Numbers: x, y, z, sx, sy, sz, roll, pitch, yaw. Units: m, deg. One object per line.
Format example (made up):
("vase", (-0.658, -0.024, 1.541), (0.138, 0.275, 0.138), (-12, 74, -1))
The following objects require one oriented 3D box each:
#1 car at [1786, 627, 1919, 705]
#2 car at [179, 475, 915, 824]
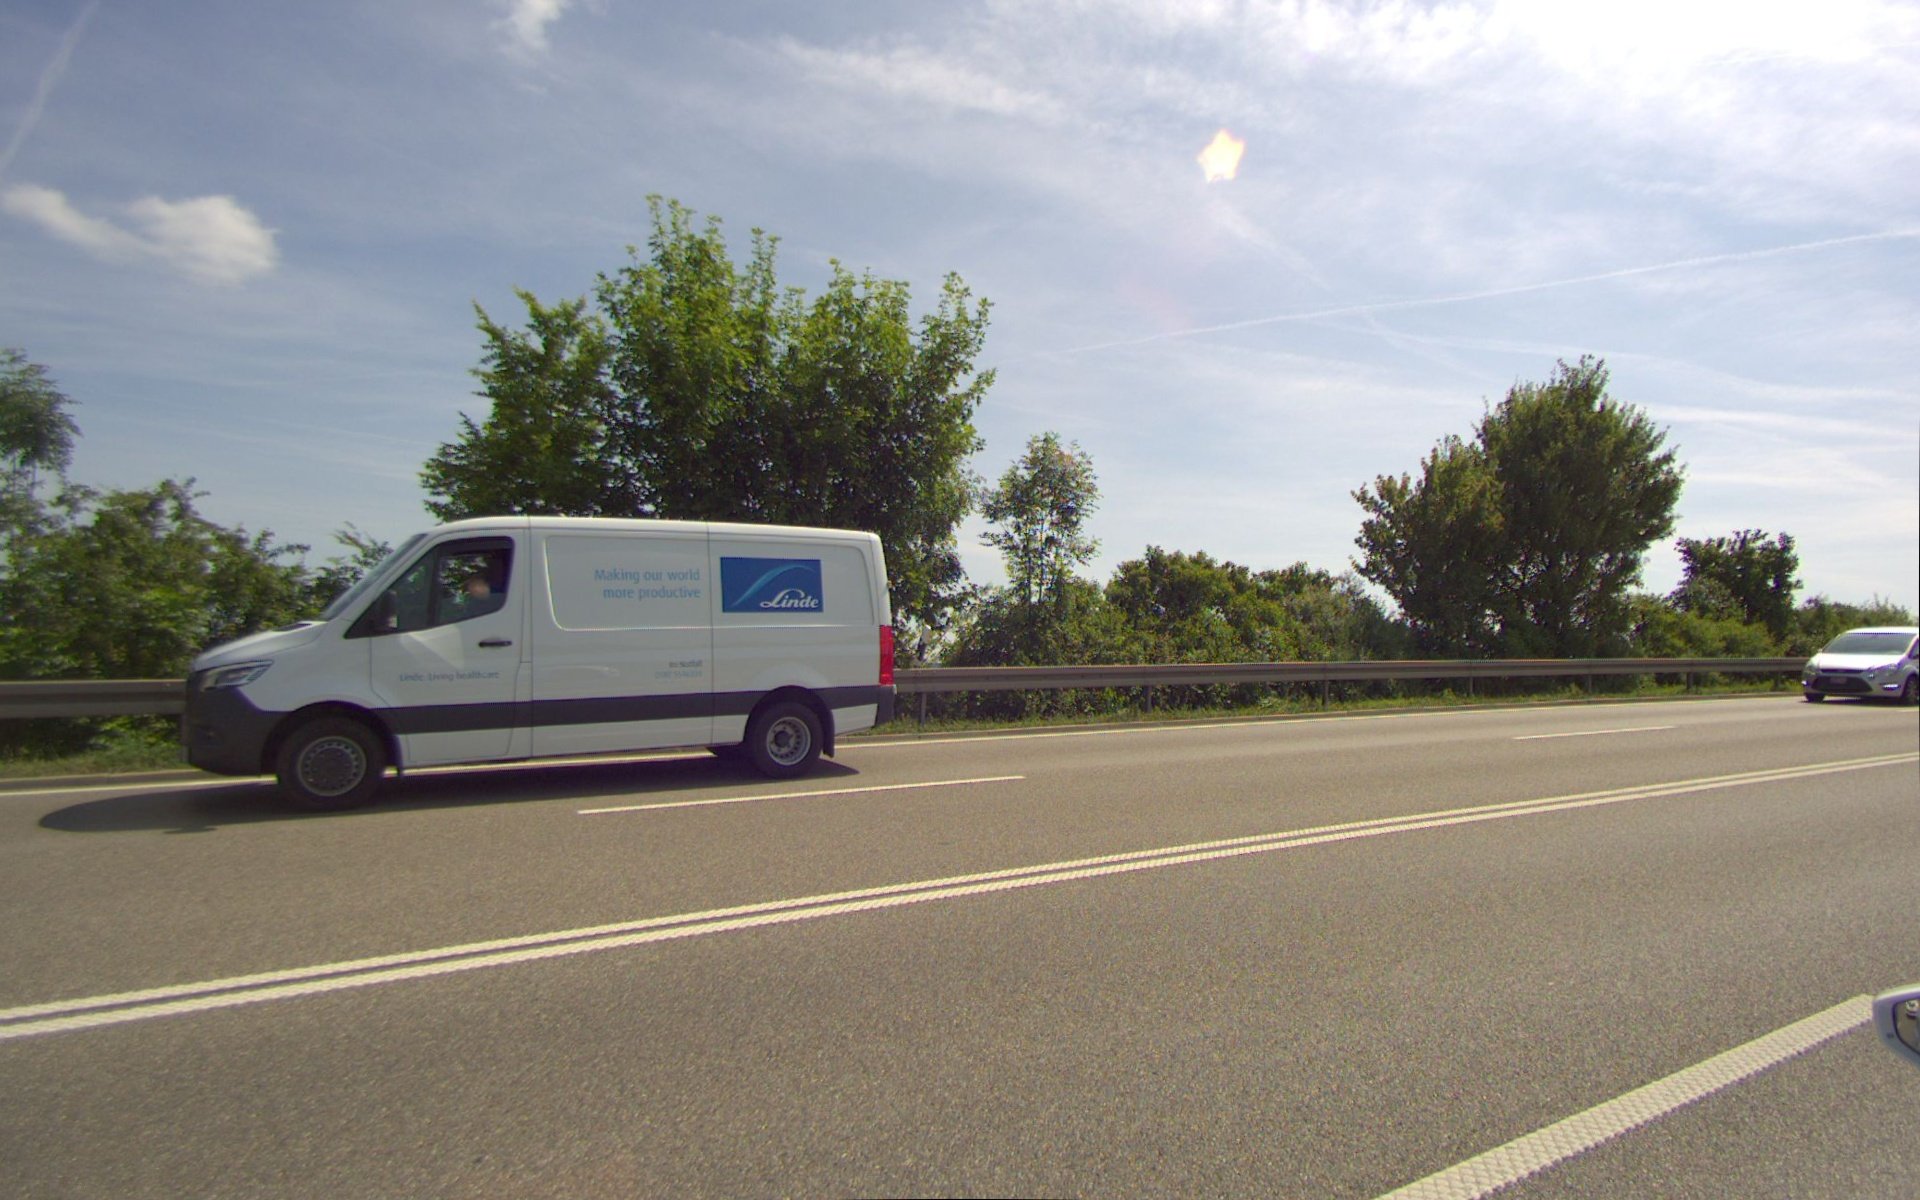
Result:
("car", (20.519, 1.408, 22.293), (4.626, 1.589, 1.805), (1, -2, -29))
("car", (-3.451, 0.416, 9.378), (5.776, 2.426, 2.078), (1, -1, -31))
